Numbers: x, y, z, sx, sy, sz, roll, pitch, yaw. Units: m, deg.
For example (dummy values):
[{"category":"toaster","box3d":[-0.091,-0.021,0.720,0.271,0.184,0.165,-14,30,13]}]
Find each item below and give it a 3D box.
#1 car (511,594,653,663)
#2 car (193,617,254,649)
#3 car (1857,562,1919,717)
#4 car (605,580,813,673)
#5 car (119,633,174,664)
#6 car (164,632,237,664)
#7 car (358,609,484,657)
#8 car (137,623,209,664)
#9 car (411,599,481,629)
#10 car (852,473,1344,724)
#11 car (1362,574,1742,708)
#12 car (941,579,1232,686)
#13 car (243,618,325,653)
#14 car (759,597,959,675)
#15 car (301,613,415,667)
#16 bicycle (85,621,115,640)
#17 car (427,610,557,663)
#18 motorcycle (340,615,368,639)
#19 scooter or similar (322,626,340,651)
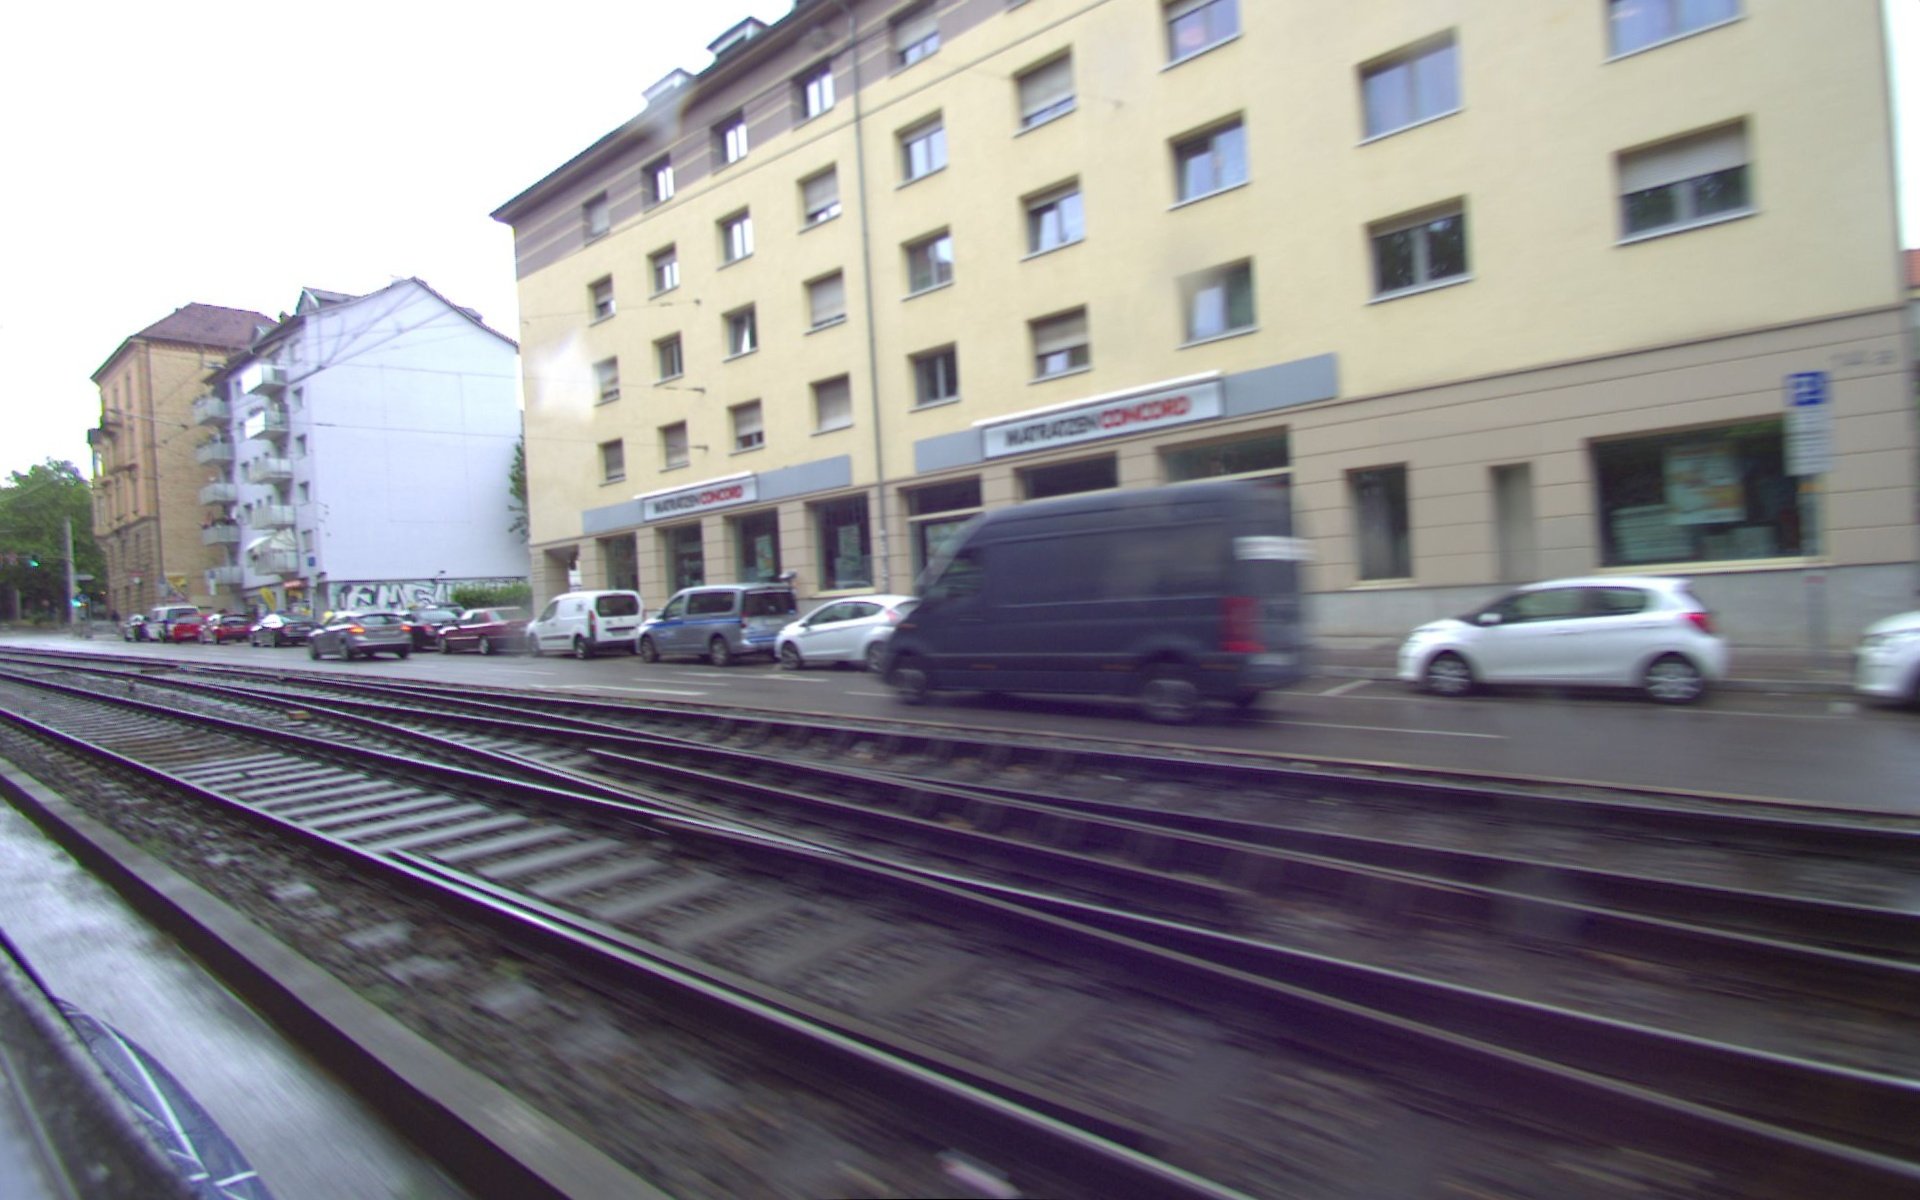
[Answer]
[{"category":"car","box3d":[-10.567,0.767,28.143,4.459,1.730,1.847,-2,0,42]},{"category":"car","box3d":[-36.444,1.599,50.060,4.073,1.462,1.636,-2,0,42]},{"category":"car","box3d":[11.048,0.333,9.695,3.537,1.460,1.692,-2,2,39]},{"category":"car","box3d":[-6.114,0.646,24.194,5.456,1.919,1.973,-3,1,41]},{"category":"car","box3d":[-48.771,2.884,60.639,4.360,1.663,1.715,-2,1,40]},{"category":"car","box3d":[-40.714,2.555,54.332,1.755,1.444,3.994,-2,1,-16]},{"category":"car","box3d":[-18.870,1.139,35.362,4.980,1.519,1.835,-2,0,35]},{"category":"car","box3d":[-44.519,2.443,57.192,5.298,2.024,2.049,-2,3,41]},{"category":"car","box3d":[-25.131,0.689,49.387,1.849,1.313,4.482,-2,0,-43]},{"category":"car","box3d":[1.434,-0.003,12.691,5.995,2.470,1.973,-1,1,41]},{"category":"car","box3d":[7.383,0.470,12.807,3.930,1.407,1.688,-2,1,38]},{"category":"car","box3d":[2.013,0.530,17.007,4.579,1.510,1.795,-2,1,41]},{"category":"car","box3d":[-29.214,1.523,43.668,4.618,1.406,1.663,-2,0,39]},{"category":"car","box3d":[-2.119,0.740,20.710,4.042,1.450,1.675,-2,-3,37]},{"category":"car","box3d":[-18.186,1.196,30.493,4.278,1.473,1.694,-2,-1,41]},{"category":"bicycle","box3d":[-82.420,2.917,96.956,0.555,1.710,2.073,2,3,34]},{"category":"car","box3d":[-14.760,1.109,31.767,4.829,1.443,1.832,-2,2,41]},{"category":"motorcycle","box3d":[-31.966,1.415,53.389,1.783,1.209,0.633,0,5,40]},{"category":"scooter or similar","box3d":[-33.155,2.010,53.349,0.614,1.209,1.900,-5,1,-30]}]
